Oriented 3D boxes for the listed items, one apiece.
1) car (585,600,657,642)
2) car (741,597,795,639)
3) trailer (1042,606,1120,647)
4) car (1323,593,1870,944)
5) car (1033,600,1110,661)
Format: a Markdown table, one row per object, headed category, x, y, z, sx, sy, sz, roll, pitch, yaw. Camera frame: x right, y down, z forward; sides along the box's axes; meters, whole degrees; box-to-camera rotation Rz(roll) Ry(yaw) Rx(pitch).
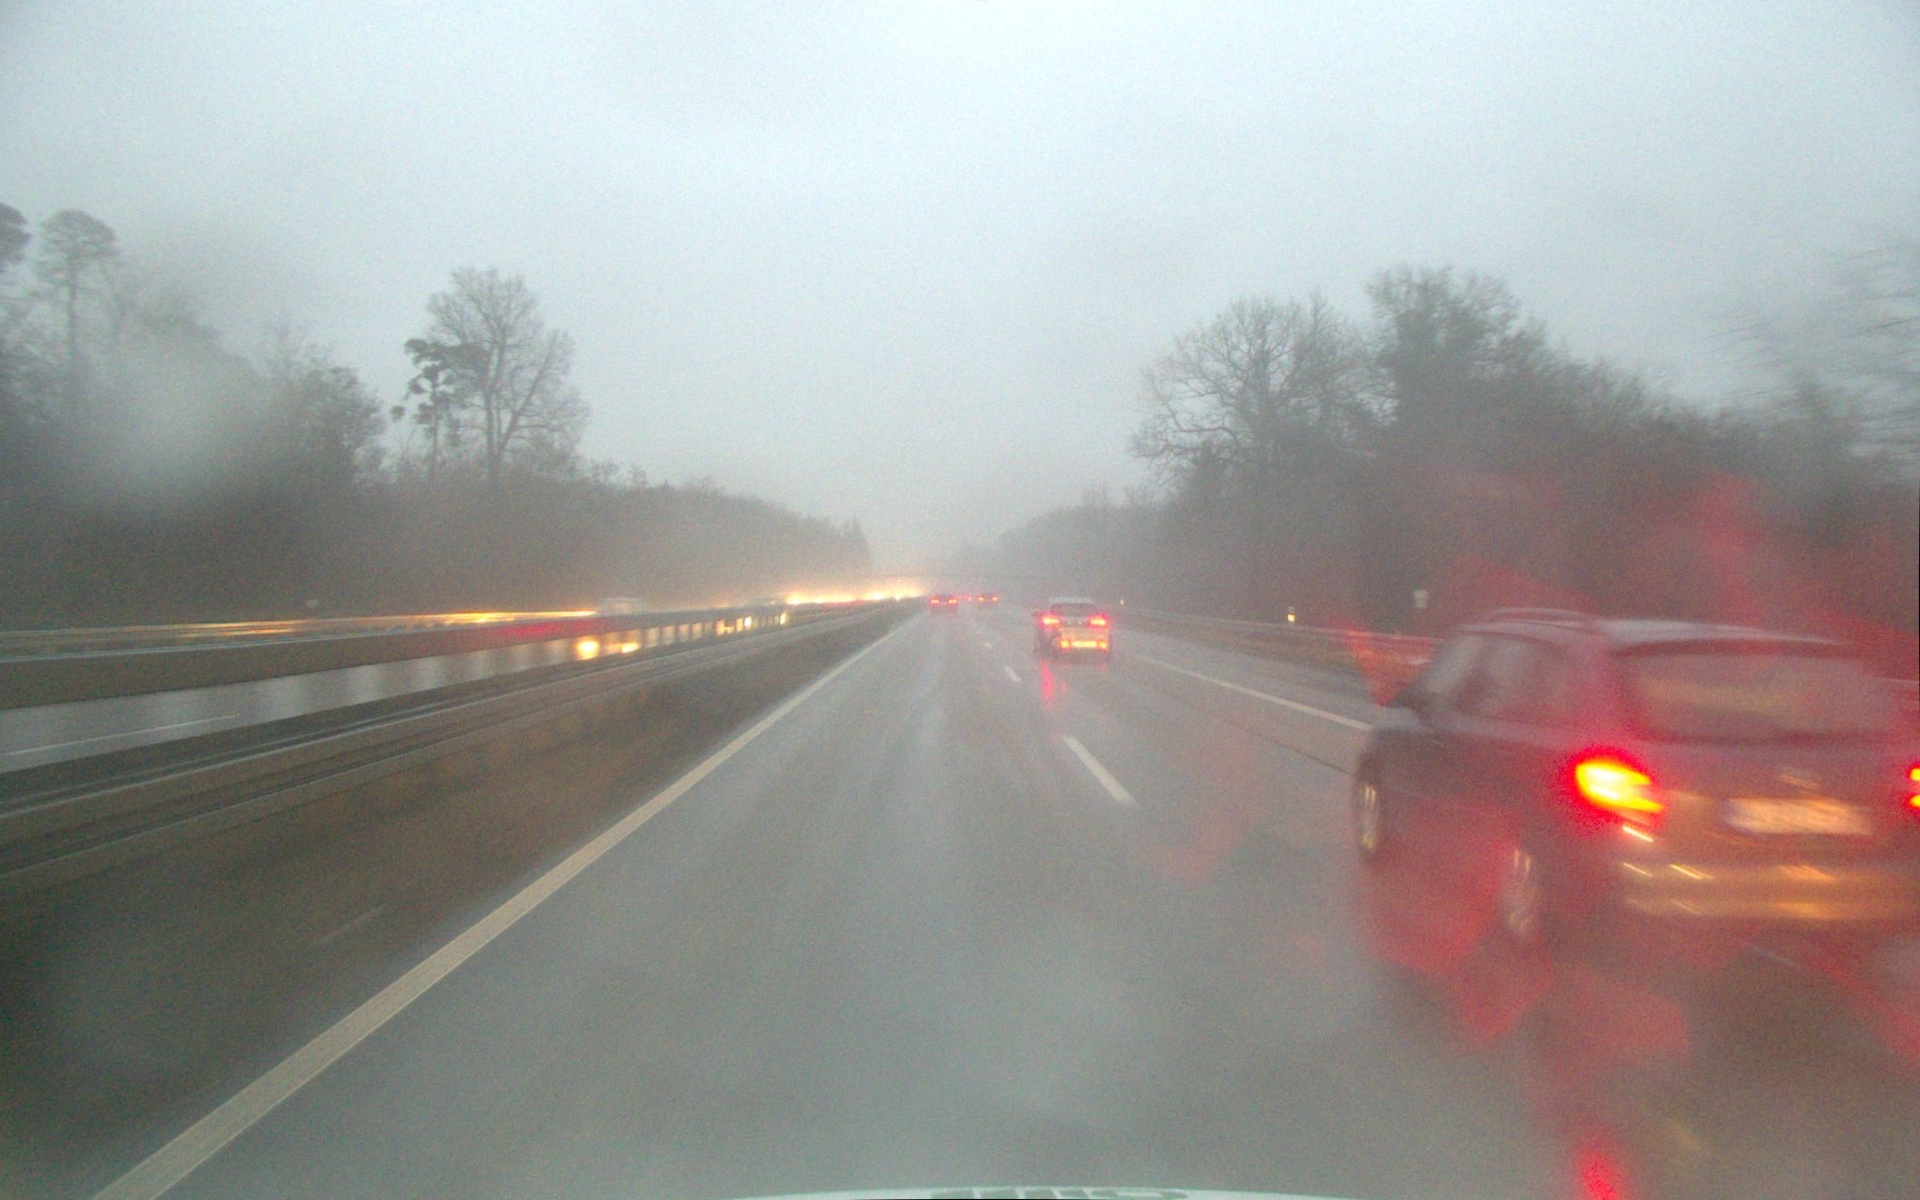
| category | x | y | z | sx | sy | sz | roll | pitch | yaw |
| --- | --- | --- | --- | --- | --- | --- | --- | --- | --- |
| car | -12.065 | 0.711 | 59.061 | 1.720 | 1.432 | 4.409 | 0 | 0 | -1 |
| car | -7.871 | 0.719 | 68.201 | 1.664 | 1.532 | 4.409 | -5 | 0 | -1 |
| trailer | 2.996 | 0.645 | 41.394 | 1.712 | 0.941 | 2.950 | -1 | 0 | -1 |
| car | 3.151 | 0.724 | 8.955 | 1.562 | 1.517 | 3.594 | 0 | 0 | 0 |
| car | 2.969 | 0.791 | 44.771 | 1.750 | 1.543 | 3.811 | -1 | 0 | -1 |
